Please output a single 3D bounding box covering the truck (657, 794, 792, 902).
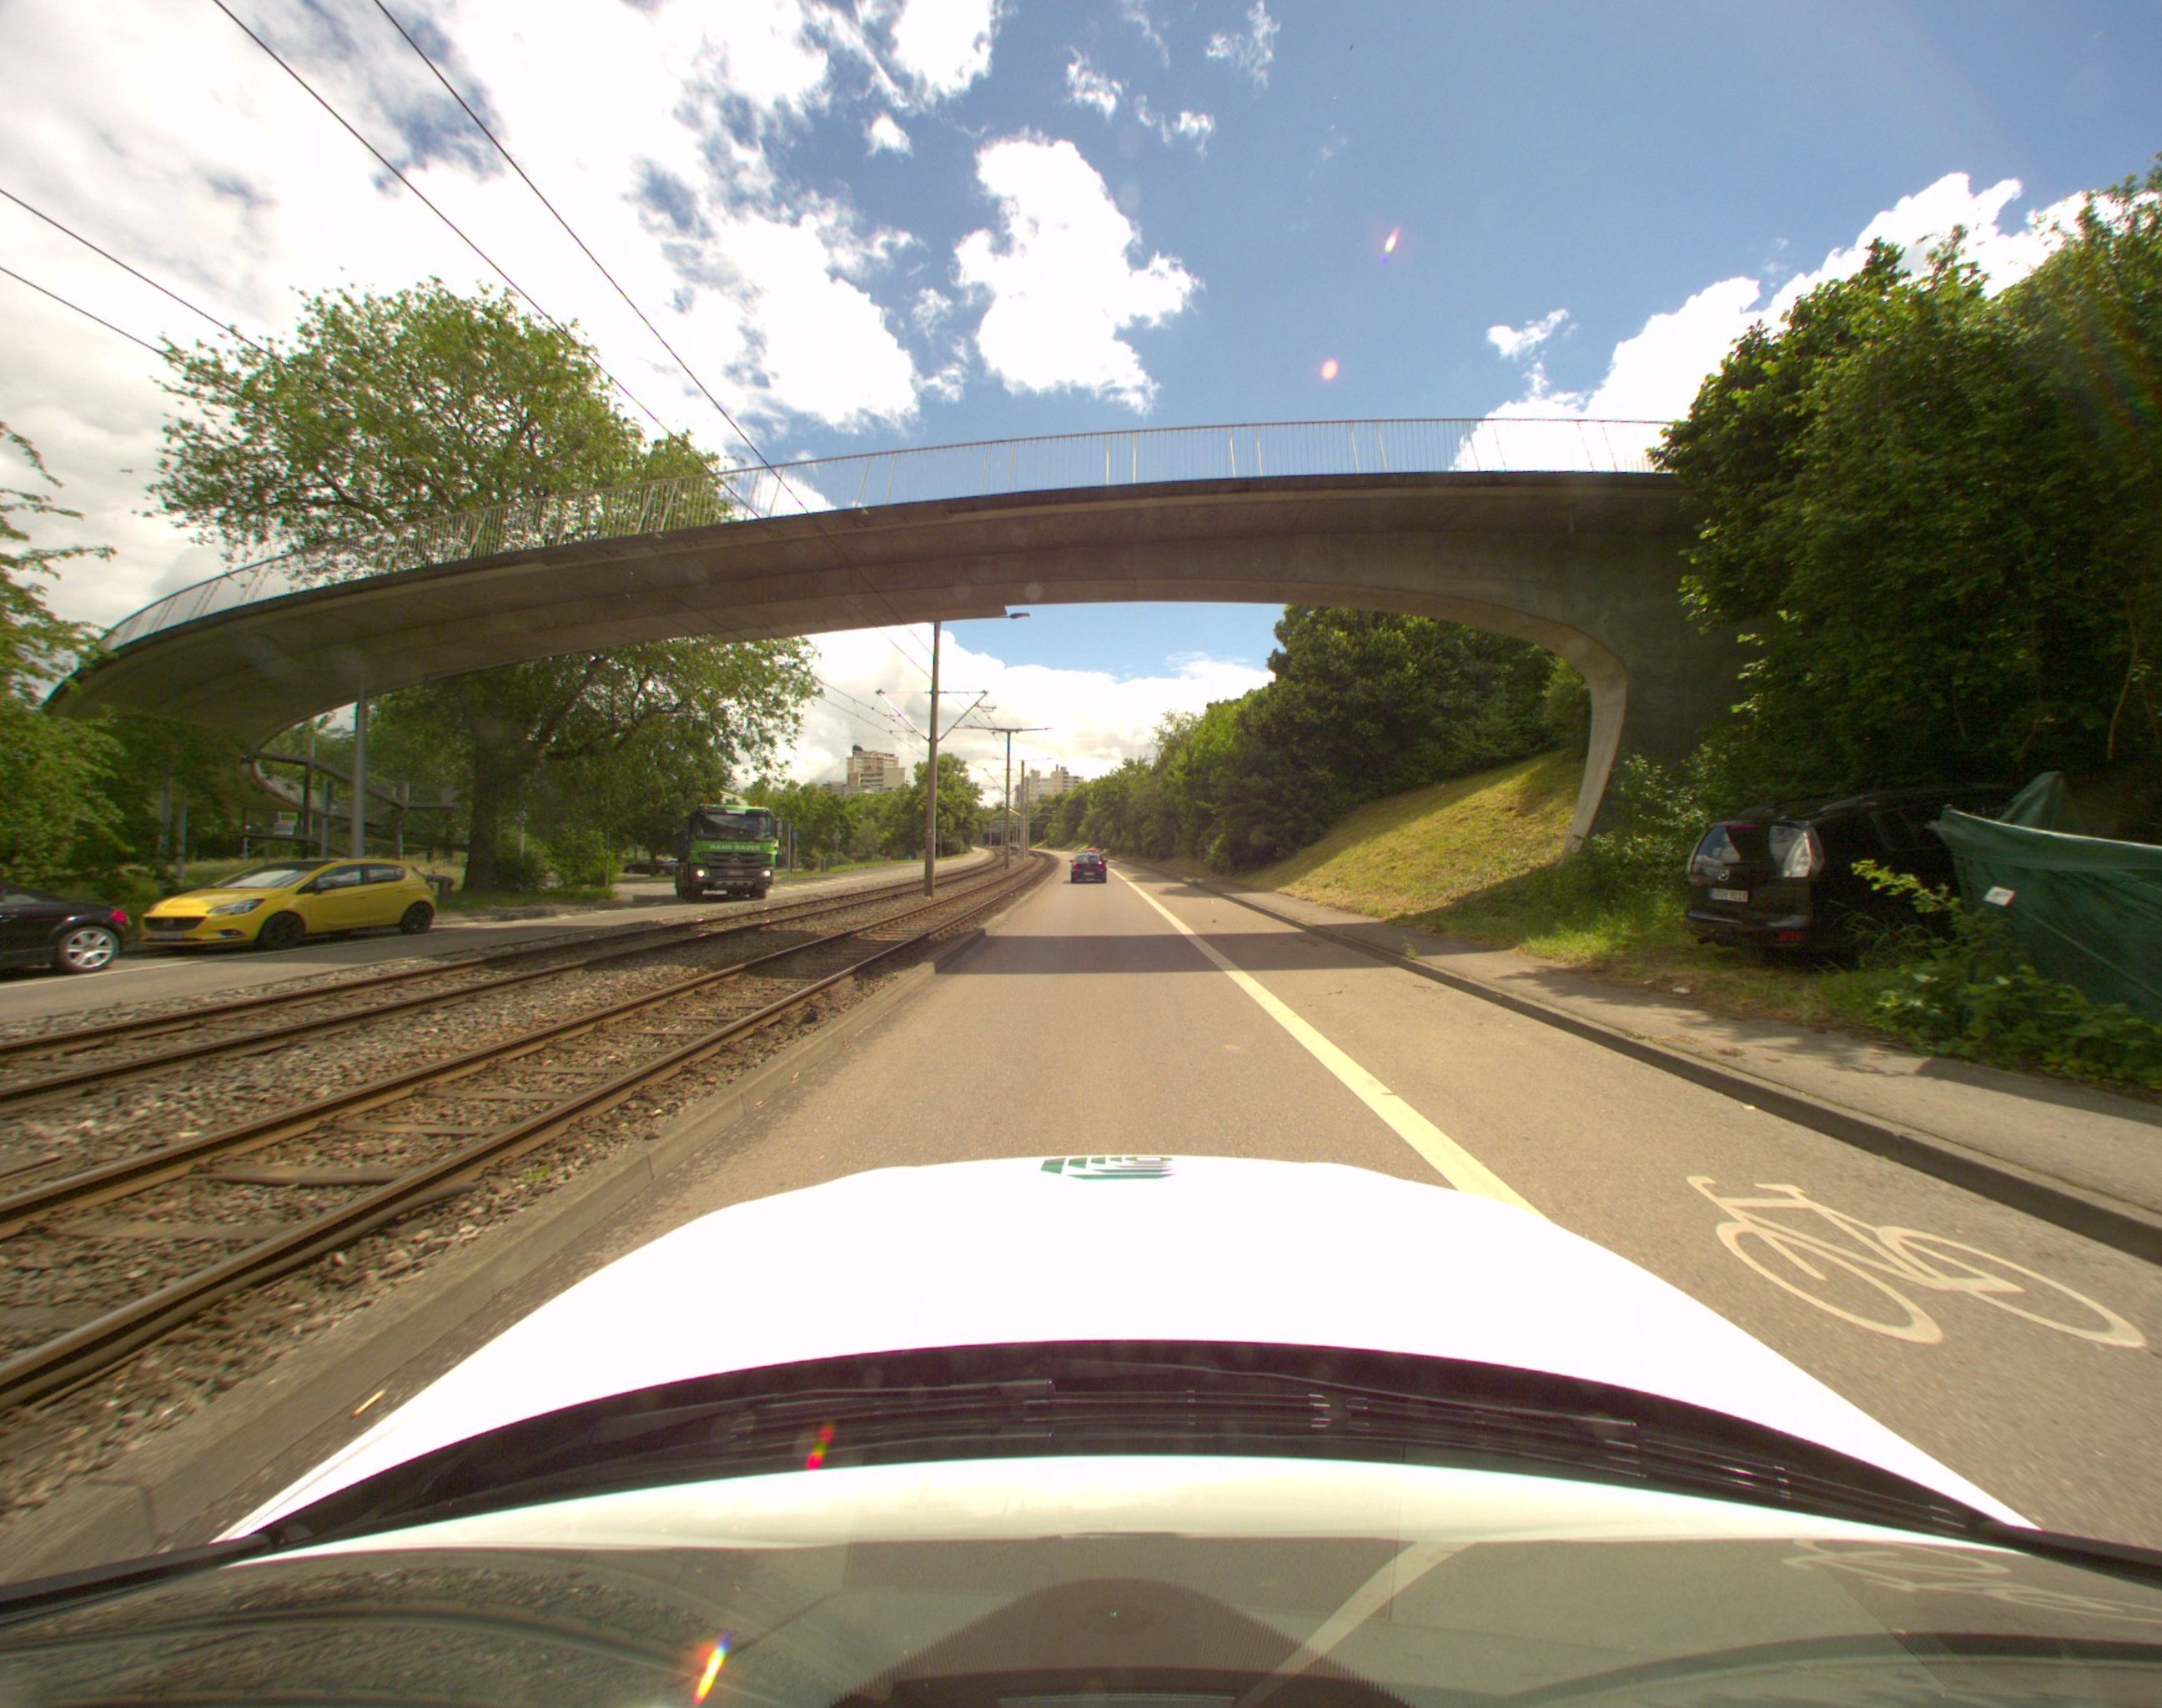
[{"bbox_3d":[-13.259,-0.178,29.757,2.891,3.320,8.936,3,-1,-34],"label":"truck"}]

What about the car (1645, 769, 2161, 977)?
[{"bbox_3d":[8.825,0.167,8.376,4.503,1.671,2.002,-4,-2,4],"label":"car"}]

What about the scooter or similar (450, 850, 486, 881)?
[{"bbox_3d":[-23.619,0.455,31.367,0.707,1.147,0.788,2,-2,4],"label":"scooter or similar"}]

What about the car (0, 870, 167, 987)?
[{"bbox_3d":[-13.580,0.907,9.290,1.505,1.360,4.131,-1,0,3],"label":"car"}]

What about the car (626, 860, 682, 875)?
[{"bbox_3d":[-37.744,1.202,72.081,3.946,1.276,1.780,2,-2,5],"label":"car"}]

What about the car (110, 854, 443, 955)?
[{"bbox_3d":[-13.530,0.808,14.099,1.682,1.450,3.901,2,-2,3],"label":"car"}]

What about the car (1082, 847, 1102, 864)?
[{"bbox_3d":[1.014,0.147,71.805,1.617,1.443,3.424,2,-1,3],"label":"car"}]

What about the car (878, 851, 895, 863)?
[{"bbox_3d":[-30.132,0.425,126.274,1.813,1.771,3.994,-1,1,-5],"label":"car"}]

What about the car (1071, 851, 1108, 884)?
[{"bbox_3d":[0.445,0.649,39.901,1.702,1.460,3.961,2,0,1],"label":"car"}]
